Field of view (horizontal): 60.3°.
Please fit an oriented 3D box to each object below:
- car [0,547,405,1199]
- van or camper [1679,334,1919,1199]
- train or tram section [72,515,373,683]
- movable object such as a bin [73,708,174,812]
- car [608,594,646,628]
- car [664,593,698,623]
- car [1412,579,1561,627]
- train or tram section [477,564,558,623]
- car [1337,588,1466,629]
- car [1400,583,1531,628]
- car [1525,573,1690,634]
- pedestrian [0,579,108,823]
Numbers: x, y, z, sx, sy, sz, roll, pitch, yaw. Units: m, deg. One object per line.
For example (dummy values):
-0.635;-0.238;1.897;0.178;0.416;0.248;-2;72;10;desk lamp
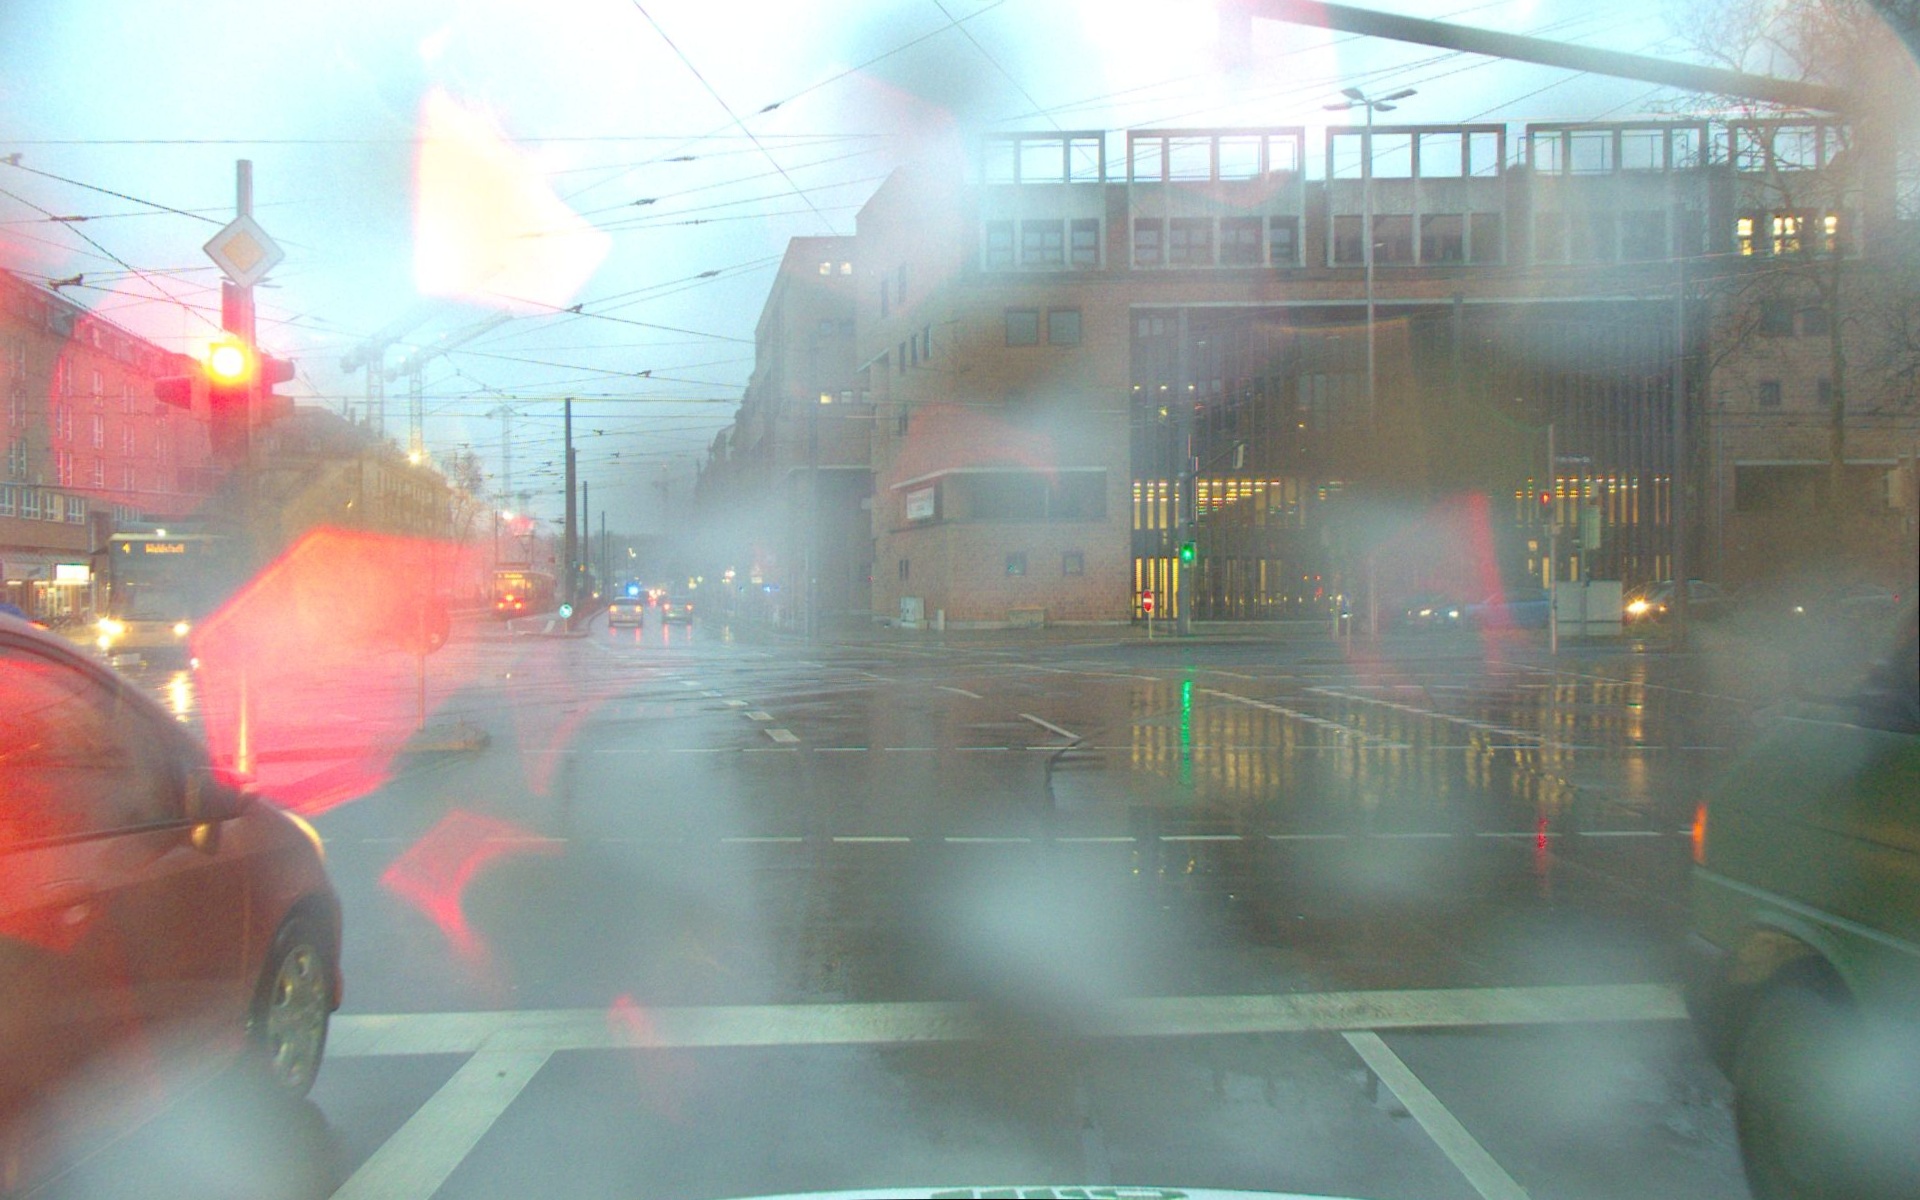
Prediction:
-2.612;0.655;3.428;1.663;1.485;3.757;-1;0;-1;car
2.806;0.455;2.179;1.721;1.940;4.418;1;0;-1;van or camper
-19.775;-0.055;46.425;2.812;3.677;20.023;-1;0;-10;train or tram section
-6.137;1.163;12.142;0.405;0.711;0.535;-3;-1;39;movable object such as a bin
-17.238;0.547;85.701;1.837;1.606;3.990;2;0;-11;car
-16.227;0.462;96.396;1.836;1.606;3.992;2;0;-9;car
15.896;0.072;50.033;3.911;1.284;1.846;-1;4;-7;car
-29.972;-0.402;113.339;3.133;3.496;27.760;-1;0;-10;train or tram section
15.442;0.286;57.939;3.909;1.333;1.998;-1;0;-5;car
16.514;0.166;54.130;3.649;1.284;1.846;-1;4;-7;car
18.155;0.080;46.492;3.911;1.530;1.846;-1;4;-7;car
-6.630;0.692;11.498;0.703;1.629;1.031;-3;-1;40;pedestrian
